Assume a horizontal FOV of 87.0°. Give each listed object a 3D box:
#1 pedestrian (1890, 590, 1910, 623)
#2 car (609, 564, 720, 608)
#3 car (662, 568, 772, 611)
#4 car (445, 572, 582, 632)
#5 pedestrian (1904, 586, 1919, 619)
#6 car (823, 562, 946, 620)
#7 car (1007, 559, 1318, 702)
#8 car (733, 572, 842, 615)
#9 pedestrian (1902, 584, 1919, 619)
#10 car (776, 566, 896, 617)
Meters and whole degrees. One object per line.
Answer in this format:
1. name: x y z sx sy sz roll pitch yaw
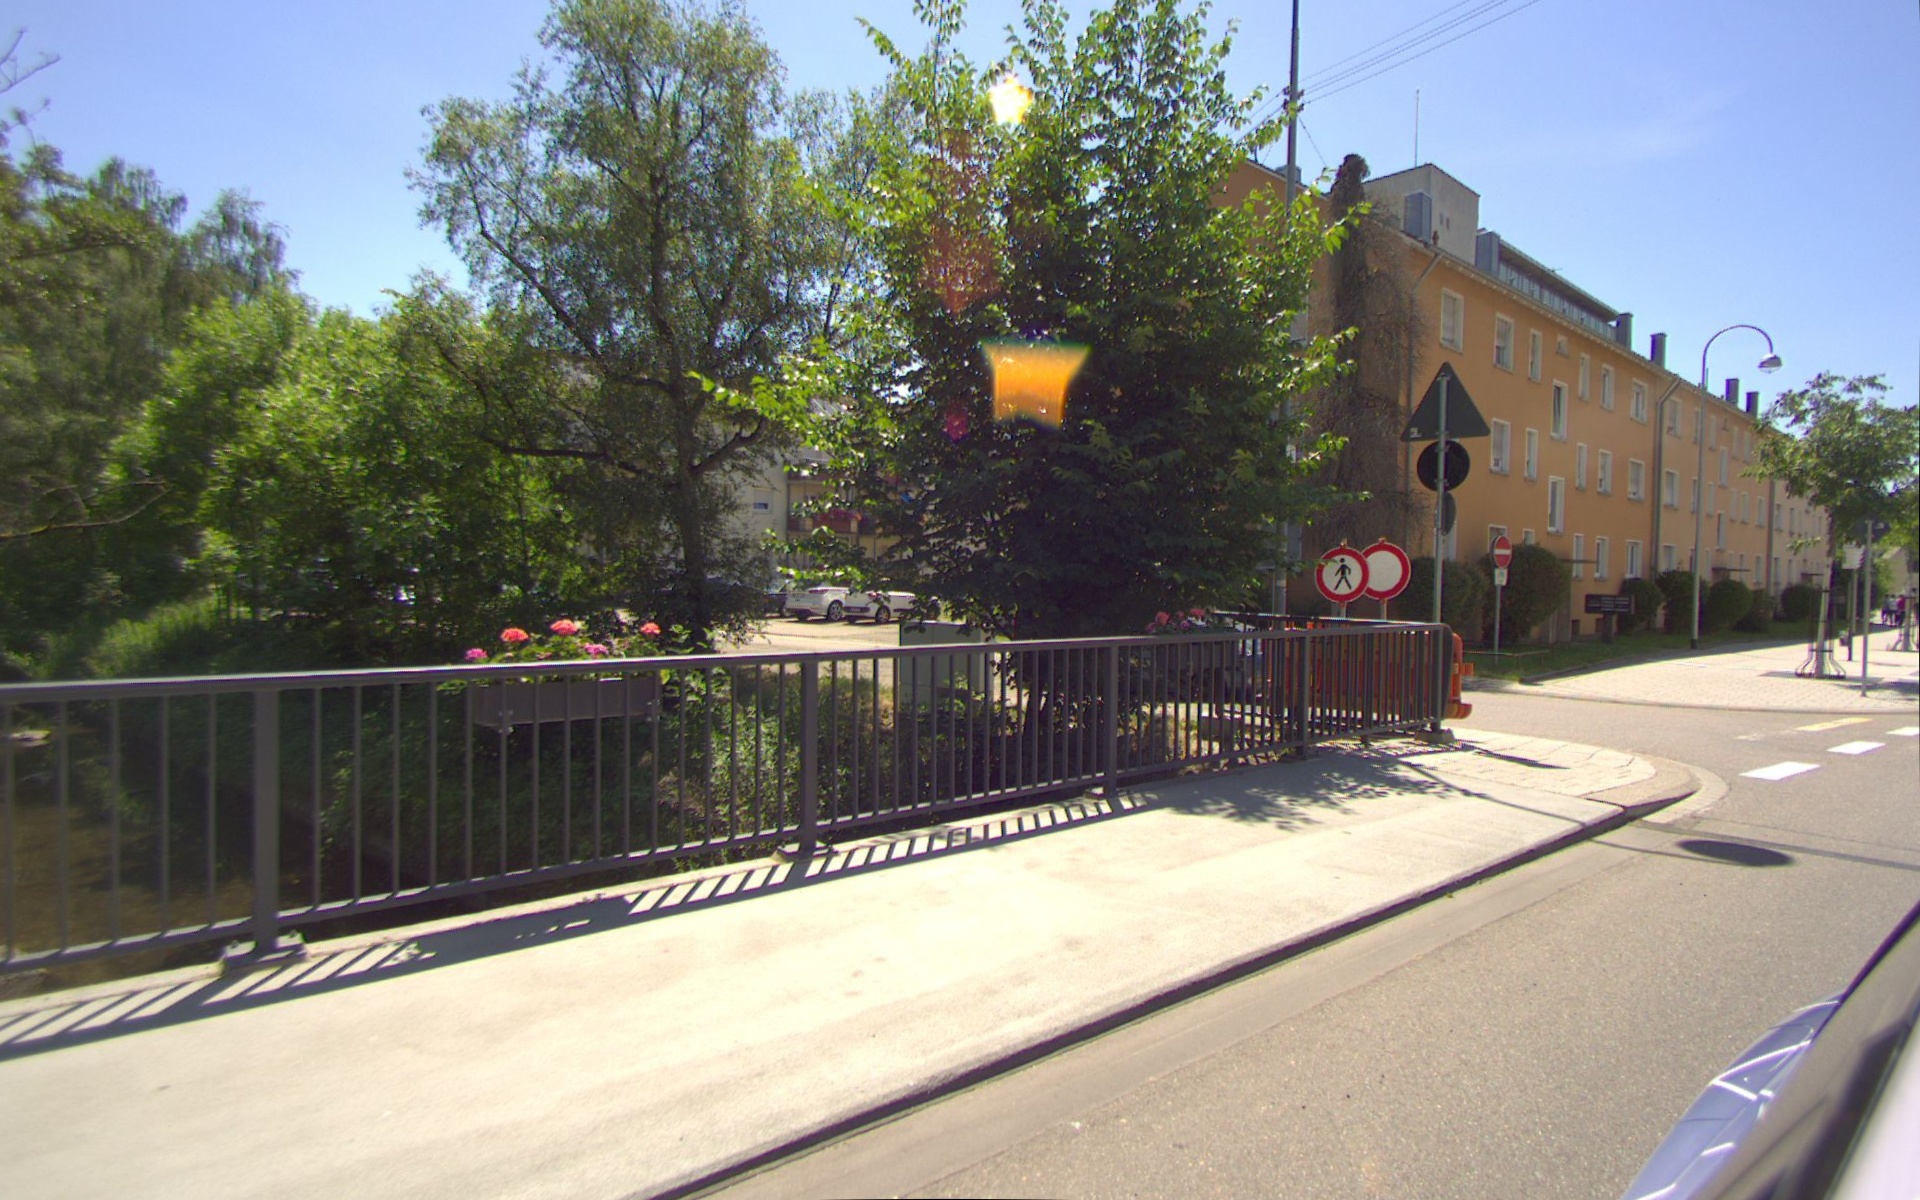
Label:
1. pedestrian: 54.065 0.361 58.212 0.794 1.800 0.992 3 2 44
2. car: -12.124 -0.590 41.647 3.934 1.712 1.968 0 2 -44
3. car: -9.638 -0.449 40.361 1.989 1.583 3.947 2 2 37
4. car: -12.521 -0.015 28.271 4.494 1.440 1.735 2 4 41
5. pedestrian: 54.262 0.150 57.487 0.788 1.833 0.990 6 4 44
6. car: -2.482 -0.337 33.889 1.989 1.805 3.947 2 2 37
7. car: 2.932 0.354 15.241 4.332 1.861 1.725 1 1 41
8. car: -6.248 -0.264 36.928 1.611 1.438 3.868 2 2 37
9. pedestrian: 51.980 0.081 55.191 0.821 1.876 0.968 2 1 44
10. car: -4.250 -0.326 35.139 1.989 1.649 3.947 2 2 37
